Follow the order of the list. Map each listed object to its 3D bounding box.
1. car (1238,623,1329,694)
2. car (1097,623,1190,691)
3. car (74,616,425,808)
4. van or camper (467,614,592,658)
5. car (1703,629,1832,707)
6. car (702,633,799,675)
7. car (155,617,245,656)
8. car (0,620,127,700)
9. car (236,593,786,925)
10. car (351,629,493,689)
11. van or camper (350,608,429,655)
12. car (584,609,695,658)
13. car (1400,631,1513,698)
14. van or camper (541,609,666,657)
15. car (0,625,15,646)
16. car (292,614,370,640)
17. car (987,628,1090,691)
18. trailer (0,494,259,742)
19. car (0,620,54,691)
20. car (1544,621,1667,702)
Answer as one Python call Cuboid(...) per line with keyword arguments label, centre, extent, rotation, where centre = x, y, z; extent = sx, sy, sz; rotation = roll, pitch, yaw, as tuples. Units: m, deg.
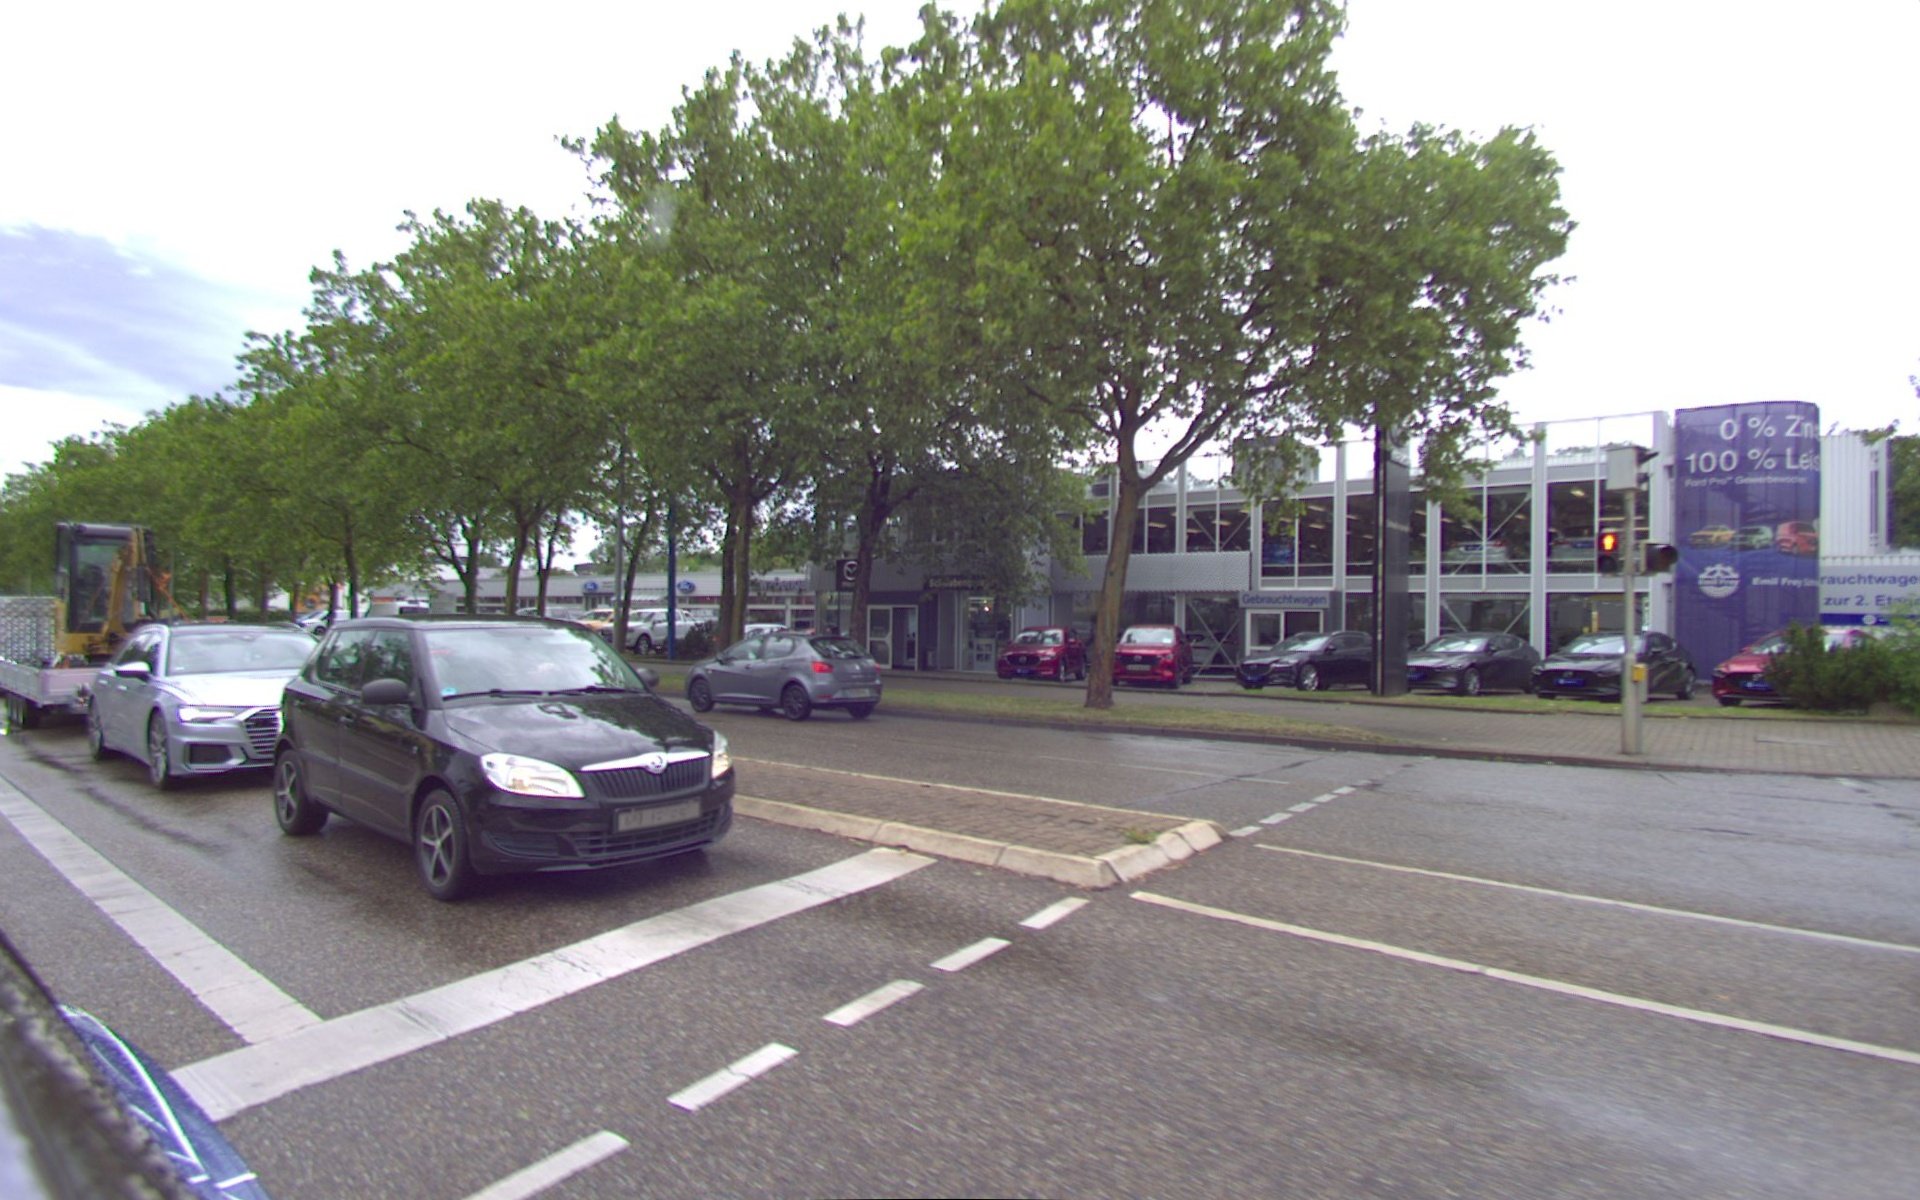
Cuboid(label="car", centre=(8.089, 1.435, 25.408), extent=(1.983, 1.608, 4.207), rotation=(0, -3, 18))
Cuboid(label="car", centre=(5.127, 1.537, 27.788), extent=(1.996, 1.666, 4.207), rotation=(1, -2, 18))
Cuboid(label="car", centre=(-7.193, 0.911, 10.023), extent=(4.778, 1.469, 1.747), rotation=(-1, -2, 41))
Cuboid(label="van or camper", centre=(-18.767, 1.557, 44.431), extent=(2.246, 1.835, 5.273), rotation=(0, -2, 15))
Cuboid(label="car", centre=(14.962, 1.224, 18.914), extent=(1.687, 1.304, 3.706), rotation=(-1, -3, 36))
Cuboid(label="car", centre=(-7.853, 1.999, 38.410), extent=(1.980, 1.461, 4.450), rotation=(0, -2, 12))
Cuboid(label="car", centre=(-30.169, 1.425, 40.119), extent=(4.077, 1.476, 1.694), rotation=(-1, -3, 36))
Cuboid(label="car", centre=(-18.389, 1.172, 20.245), extent=(4.553, 1.440, 1.972), rotation=(-2, -4, 42))
Cuboid(label="car", centre=(-3.104, 0.773, 6.585), extent=(4.075, 1.501, 1.695), rotation=(-1, -2, 41))
Cuboid(label="car", centre=(-13.826, 1.476, 25.922), extent=(4.170, 1.393, 1.693), rotation=(-1, -4, 39))
Cuboid(label="van or camper", centre=(-32.249, 1.750, 57.089), extent=(6.399, 2.489, 1.972), rotation=(-1, -1, 42))
Cuboid(label="car", centre=(-12.621, 1.305, 40.197), extent=(1.984, 1.829, 4.441), rotation=(0, -2, 18))
Cuboid(label="car", centre=(11.406, 1.409, 23.132), extent=(1.687, 1.401, 3.706), rotation=(-1, -2, 36))
Cuboid(label="van or camper", centre=(-14.873, 1.366, 42.626), extent=(2.088, 1.783, 5.342), rotation=(3, -1, 18))
Cuboid(label="car", centre=(-67.732, 2.467, 70.913), extent=(4.535, 1.440, 1.718), rotation=(-1, -3, 41))
Cuboid(label="car", centre=(-51.103, 2.216, 82.309), extent=(2.127, 2.029, 4.995), rotation=(-1, -2, 39))
Cuboid(label="car", centre=(2.396, 1.671, 29.688), extent=(1.984, 1.608, 4.541), rotation=(0, 0, 19))
Cuboid(label="trailer", centre=(-12.412, 0.268, 14.604), extent=(5.541, 2.919, 2.348), rotation=(-1, -2, 40))
Cuboid(label="car", centre=(-23.418, 1.268, 24.297), extent=(4.878, 1.590, 1.887), rotation=(-1, -2, 42))
Cuboid(label="car", centre=(13.362, 1.198, 20.852), extent=(1.875, 1.500, 3.943), rotation=(-1, -2, 36))
